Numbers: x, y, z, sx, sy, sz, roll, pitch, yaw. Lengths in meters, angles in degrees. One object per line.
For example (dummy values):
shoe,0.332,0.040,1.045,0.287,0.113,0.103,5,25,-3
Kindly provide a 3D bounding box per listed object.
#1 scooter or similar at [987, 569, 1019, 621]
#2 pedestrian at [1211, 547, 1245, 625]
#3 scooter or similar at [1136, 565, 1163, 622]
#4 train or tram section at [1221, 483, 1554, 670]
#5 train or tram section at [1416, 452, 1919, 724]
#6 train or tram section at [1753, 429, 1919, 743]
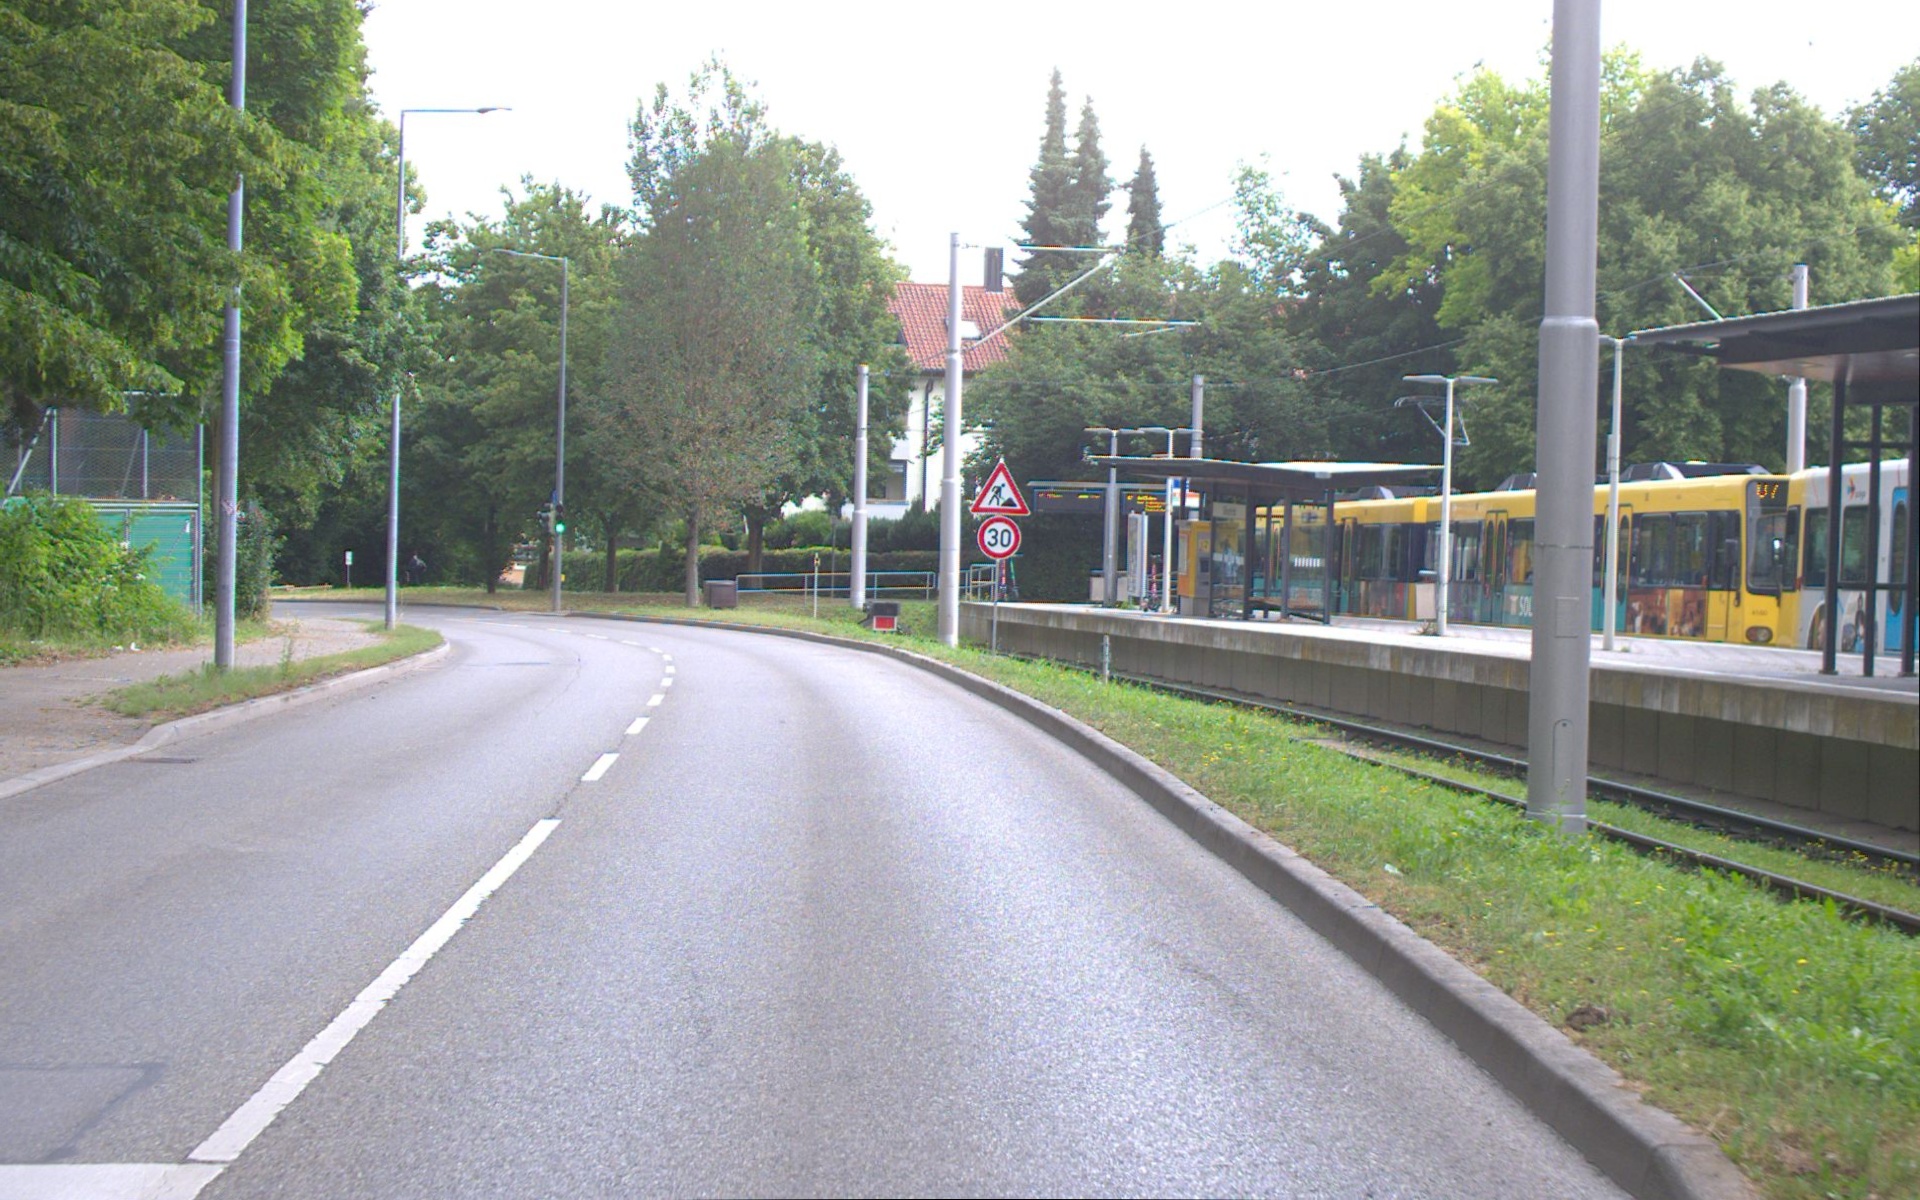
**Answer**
scooter or similar,1.070,-0.120,85.721,0.429,1.249,1.255,0,-1,-16
pedestrian,5.500,-0.286,70.529,0.623,1.567,0.665,1,0,10
scooter or similar,4.181,-0.147,76.043,0.368,1.238,1.146,1,0,-8
train or tram section,9.154,-0.577,77.404,2.813,3.576,19.518,2,0,-6
train or tram section,11.519,-0.277,57.952,2.813,3.724,19.518,2,0,-6
train or tram section,13.073,-0.101,39.076,2.813,3.786,18.935,2,0,-2
